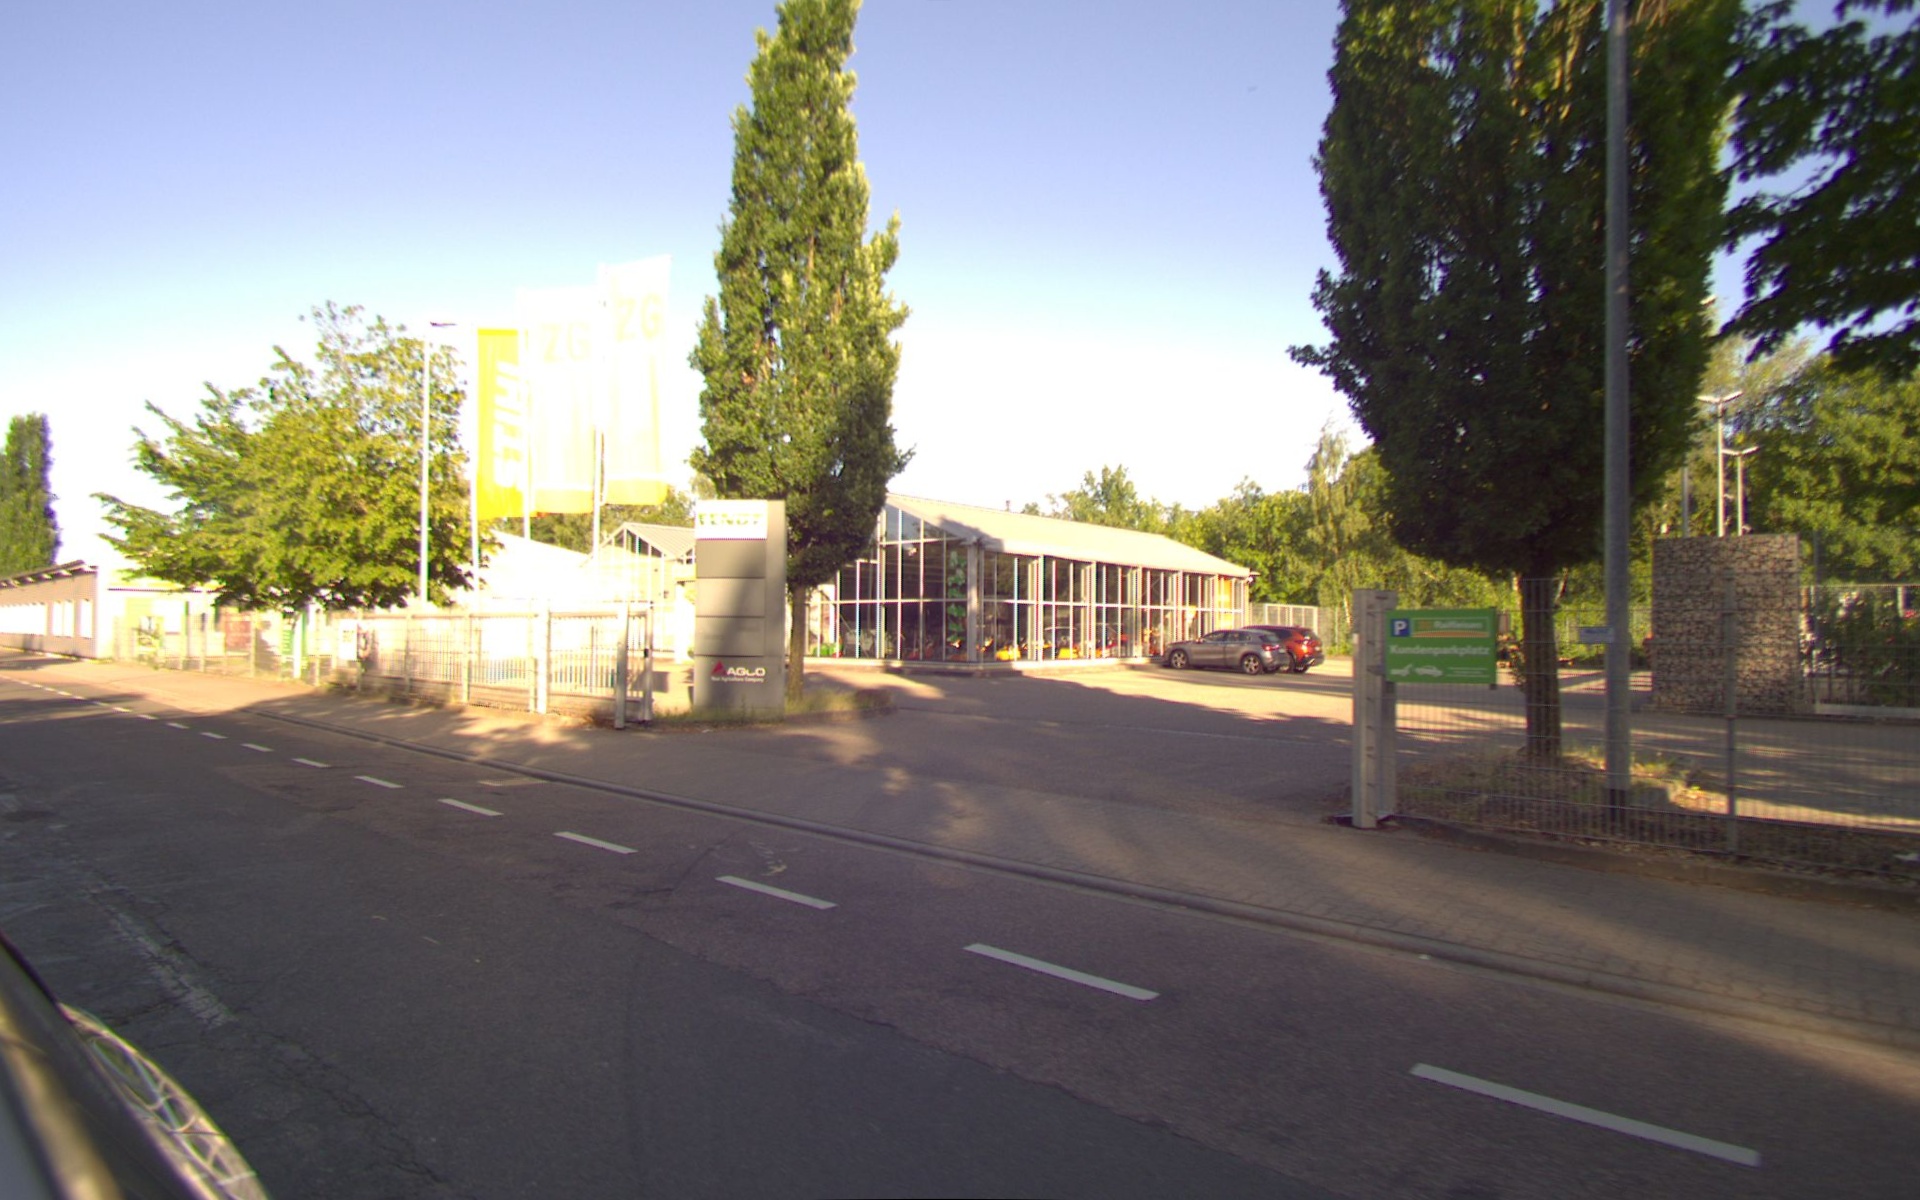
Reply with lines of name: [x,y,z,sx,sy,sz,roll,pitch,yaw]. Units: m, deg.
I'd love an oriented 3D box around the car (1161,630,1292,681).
car: [9.177,1.864,34.981,3.997,1.521,1.861,1,-1,40]

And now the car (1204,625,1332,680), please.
car: [11.111,1.844,36.630,3.997,1.752,1.861,1,-1,40]
